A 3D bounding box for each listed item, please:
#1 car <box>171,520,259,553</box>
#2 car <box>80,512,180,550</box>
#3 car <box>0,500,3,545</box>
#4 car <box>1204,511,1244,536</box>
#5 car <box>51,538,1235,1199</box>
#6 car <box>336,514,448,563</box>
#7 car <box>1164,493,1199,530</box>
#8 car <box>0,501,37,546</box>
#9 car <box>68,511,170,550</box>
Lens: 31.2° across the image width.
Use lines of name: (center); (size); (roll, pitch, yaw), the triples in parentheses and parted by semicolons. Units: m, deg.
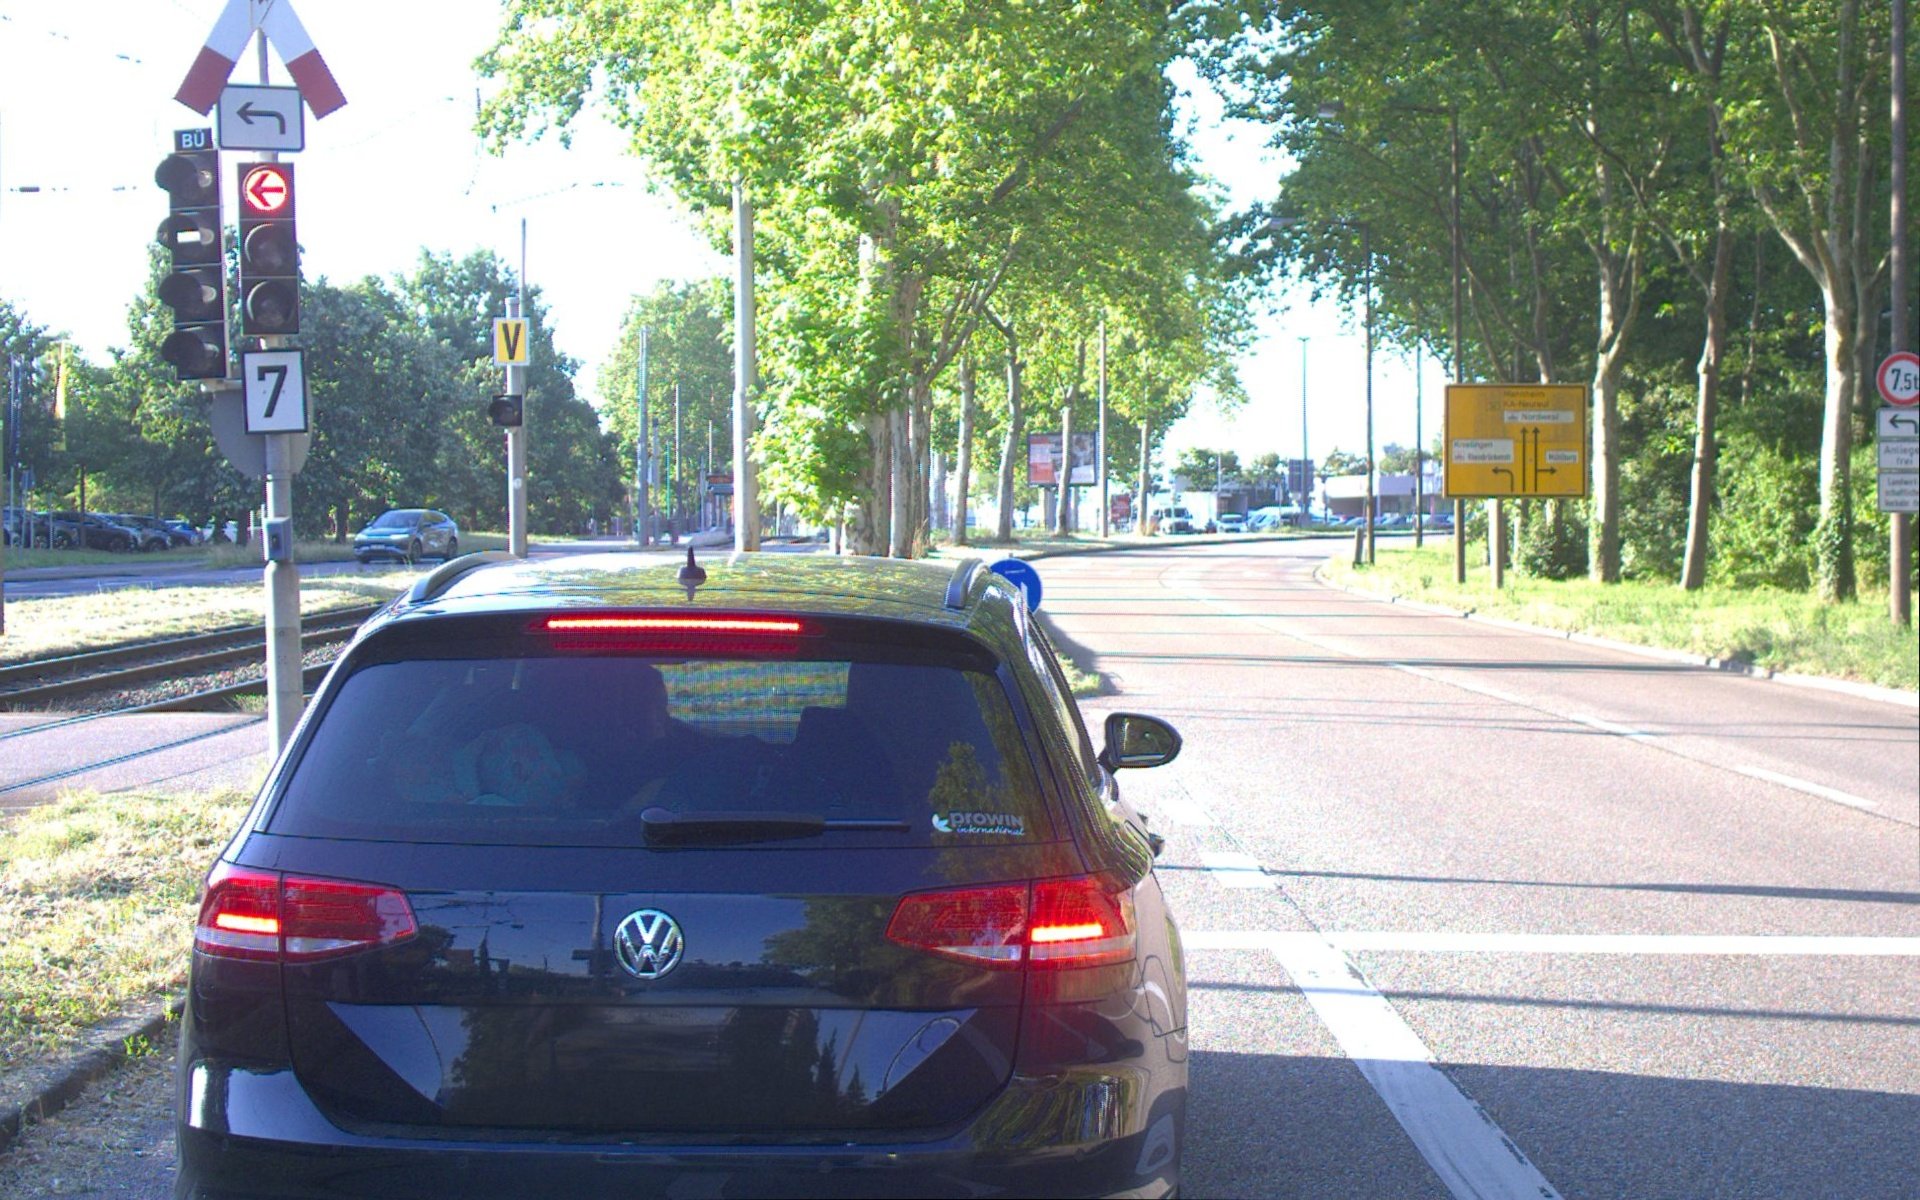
car: (-36.530, -3.126, 168.618); (3.986, 1.550, 1.744); (1, 1, -4)
car: (-36.138, -2.994, 149.705); (3.986, 1.615, 1.744); (1, 1, -5)
car: (-36.283, -2.790, 122.425); (3.986, 1.615, 1.744); (1, 1, -5)
car: (15.949, -4.630, 207.791); (1.862, 1.476, 4.092); (1, 1, -3)
car: (-0.519, 0.619, 7.053); (1.795, 1.459, 3.583); (1, 1, -1)
car: (-17.820, -1.942, 108.002); (1.863, 1.476, 4.169); (1, 2, 16)
car: (15.404, -6.160, 239.244); (2.095, 2.453, 5.853); (1, 2, 1)
car: (-35.935, -2.806, 125.637); (3.986, 1.615, 1.744); (1, 1, -5)
car: (-35.845, -2.965, 146.542); (3.986, 1.615, 1.744); (1, 1, -5)
